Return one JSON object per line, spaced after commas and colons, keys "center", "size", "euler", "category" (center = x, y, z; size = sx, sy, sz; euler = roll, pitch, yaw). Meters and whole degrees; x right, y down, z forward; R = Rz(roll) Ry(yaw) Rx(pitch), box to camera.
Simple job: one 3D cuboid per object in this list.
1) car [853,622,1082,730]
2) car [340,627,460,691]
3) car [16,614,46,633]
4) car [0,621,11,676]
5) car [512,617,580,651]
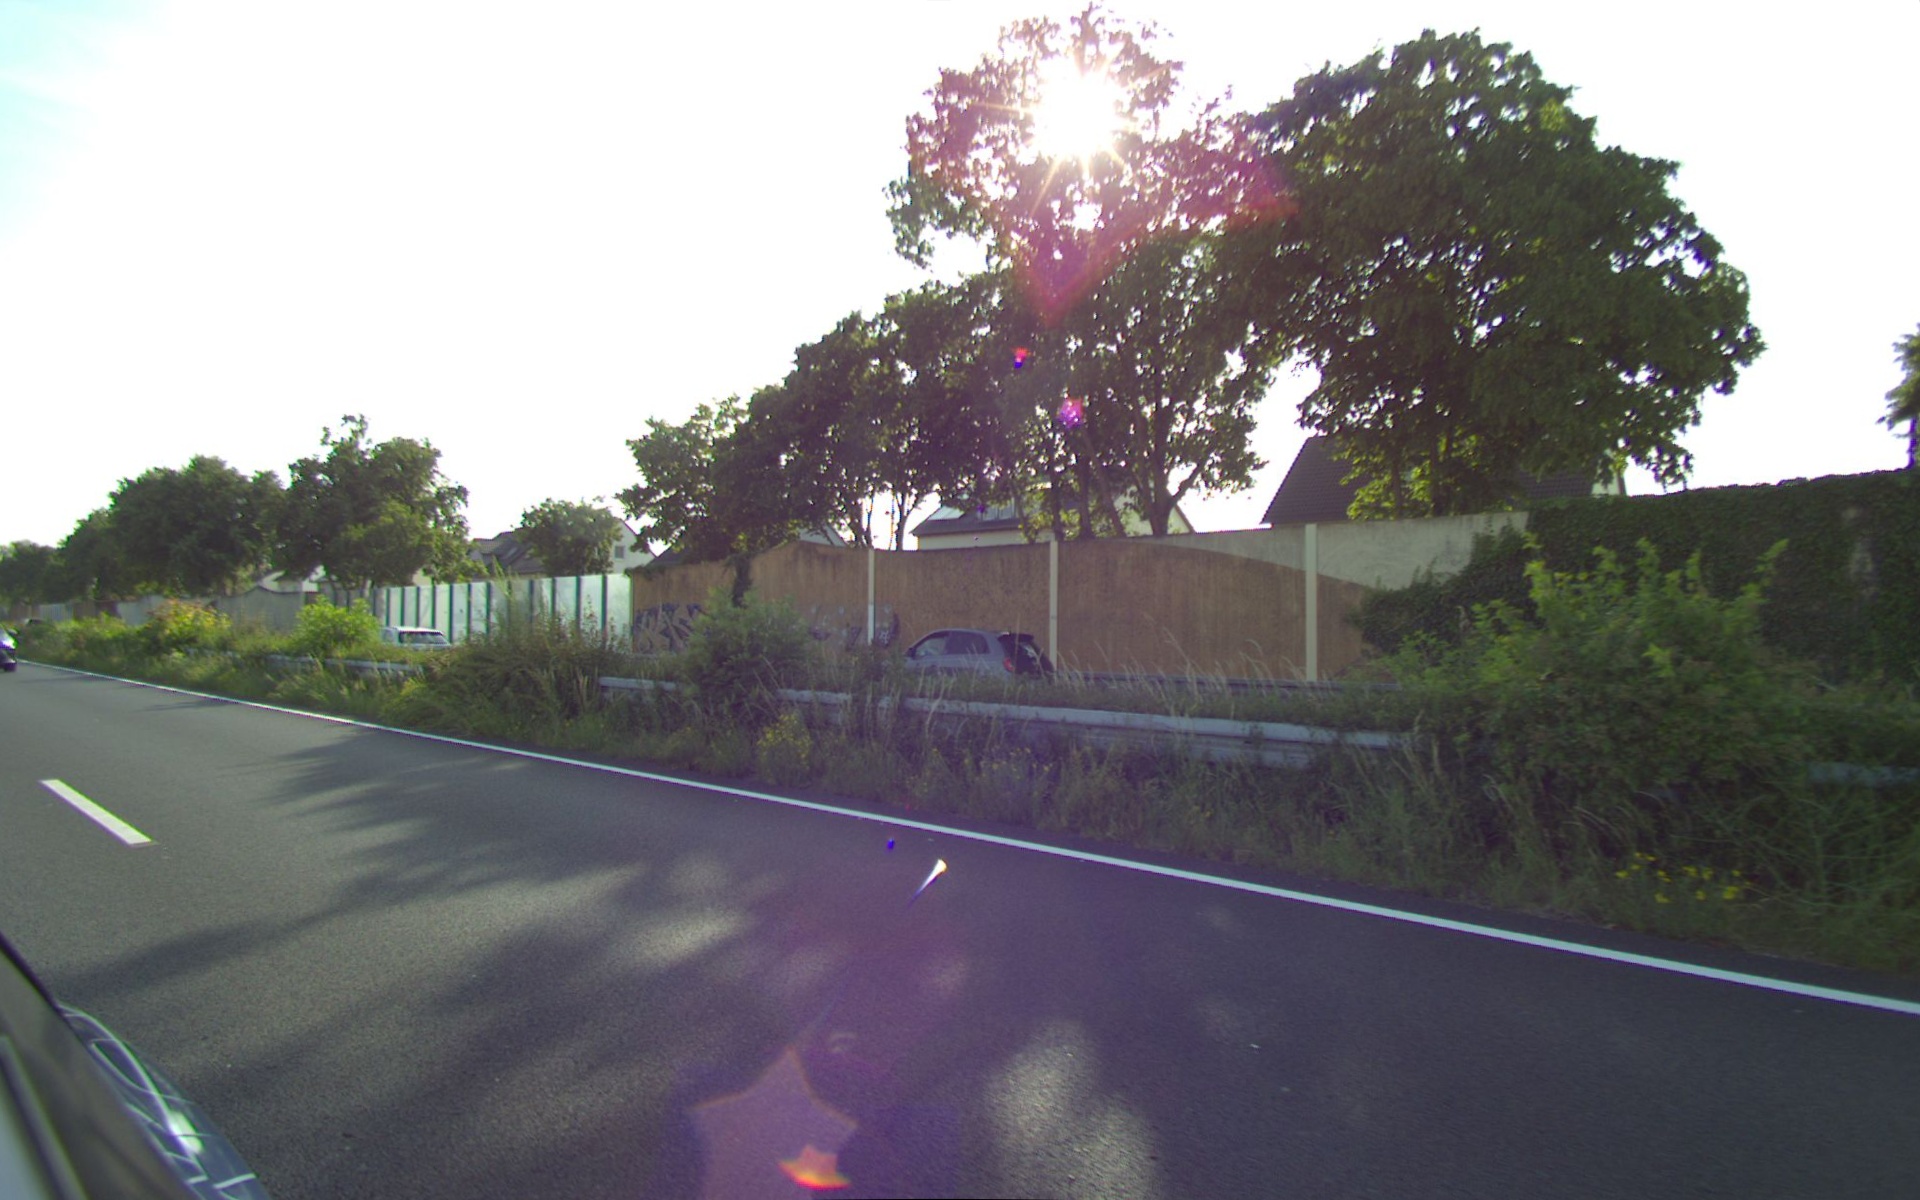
{"center": [0.074, 1.311, 18.963], "size": [3.998, 1.741, 1.917], "euler": [-1, 0, 41], "category": "car"}
{"center": [-15.109, 1.531, 27.233], "size": [3.671, 1.499, 1.676], "euler": [-1, 0, 41], "category": "car"}
{"center": [-92.943, 2.354, 101.231], "size": [4.298, 1.808, 1.818], "euler": [-1, 0, 41], "category": "car"}
{"center": [-29.031, 1.390, 29.396], "size": [4.245, 1.536, 1.798], "euler": [-1, 0, 42], "category": "car"}
{"center": [-24.945, 2.013, 60.930], "size": [4.912, 1.933, 1.767], "euler": [-1, 0, 41], "category": "car"}
